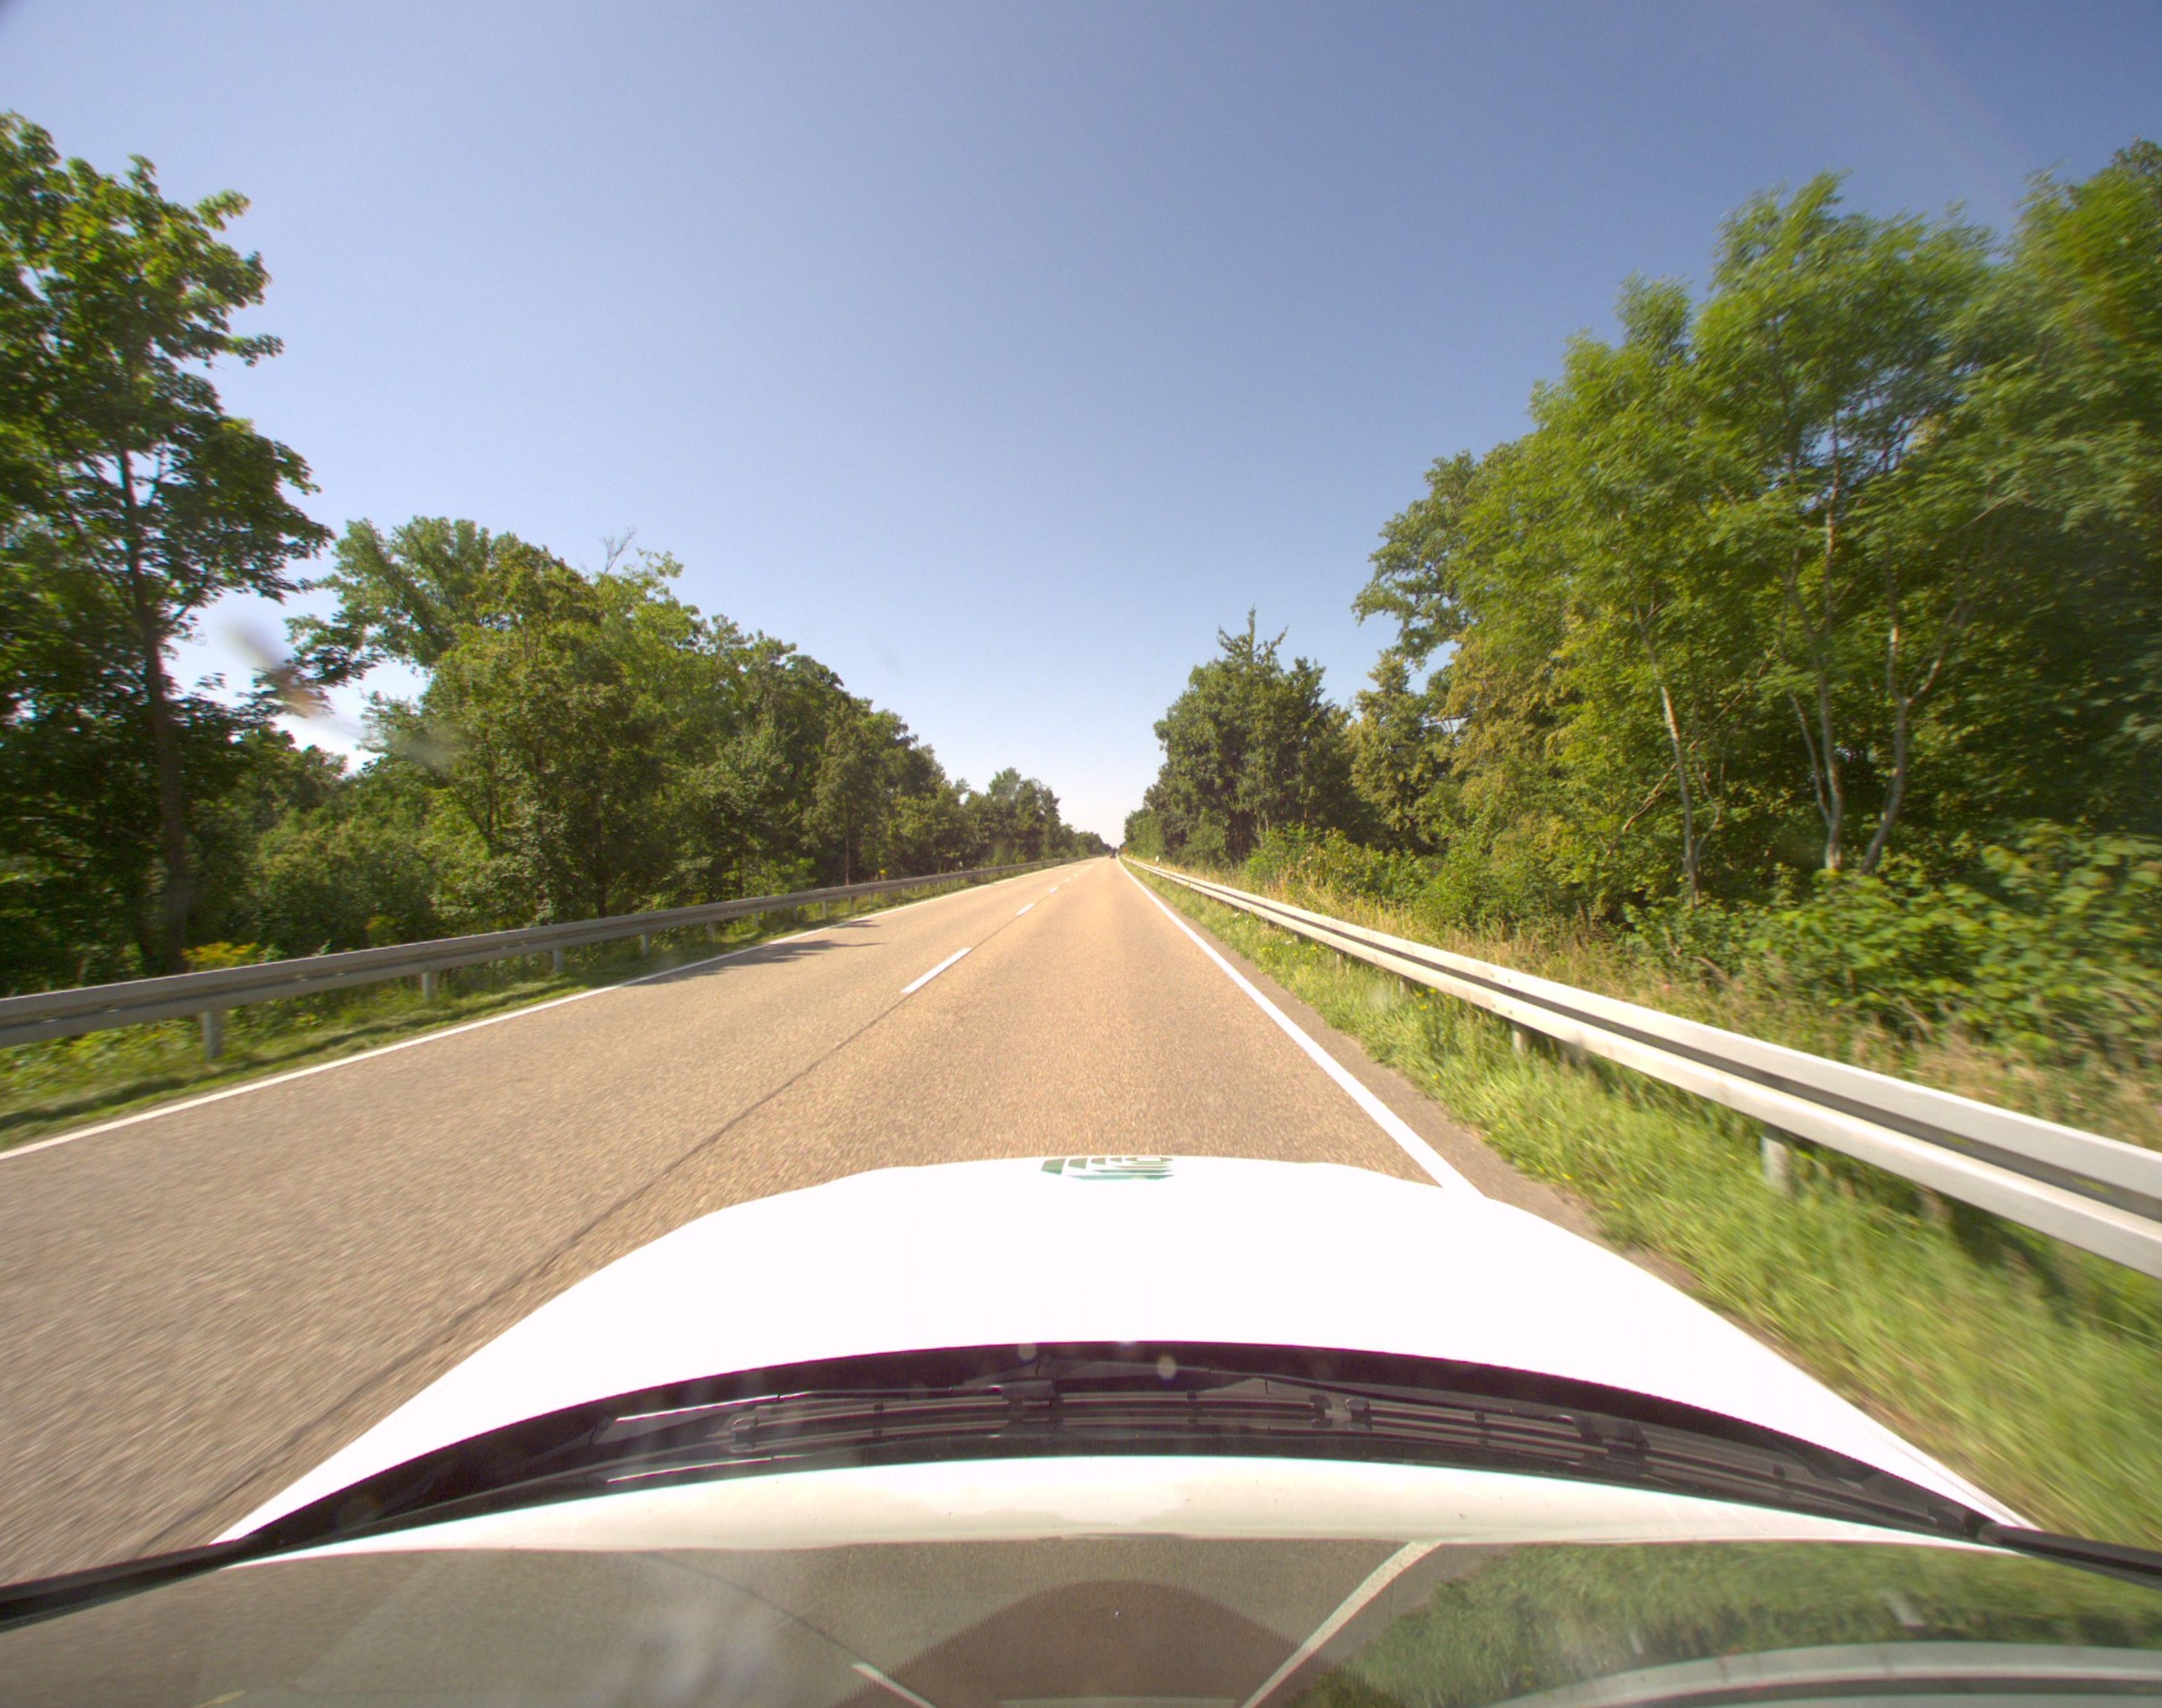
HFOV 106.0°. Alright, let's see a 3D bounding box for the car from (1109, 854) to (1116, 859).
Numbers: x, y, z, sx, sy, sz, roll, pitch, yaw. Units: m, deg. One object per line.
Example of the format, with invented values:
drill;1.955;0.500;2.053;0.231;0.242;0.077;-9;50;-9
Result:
car;9.019;0.730;234.631;1.733;1.470;3.696;-1;0;4
